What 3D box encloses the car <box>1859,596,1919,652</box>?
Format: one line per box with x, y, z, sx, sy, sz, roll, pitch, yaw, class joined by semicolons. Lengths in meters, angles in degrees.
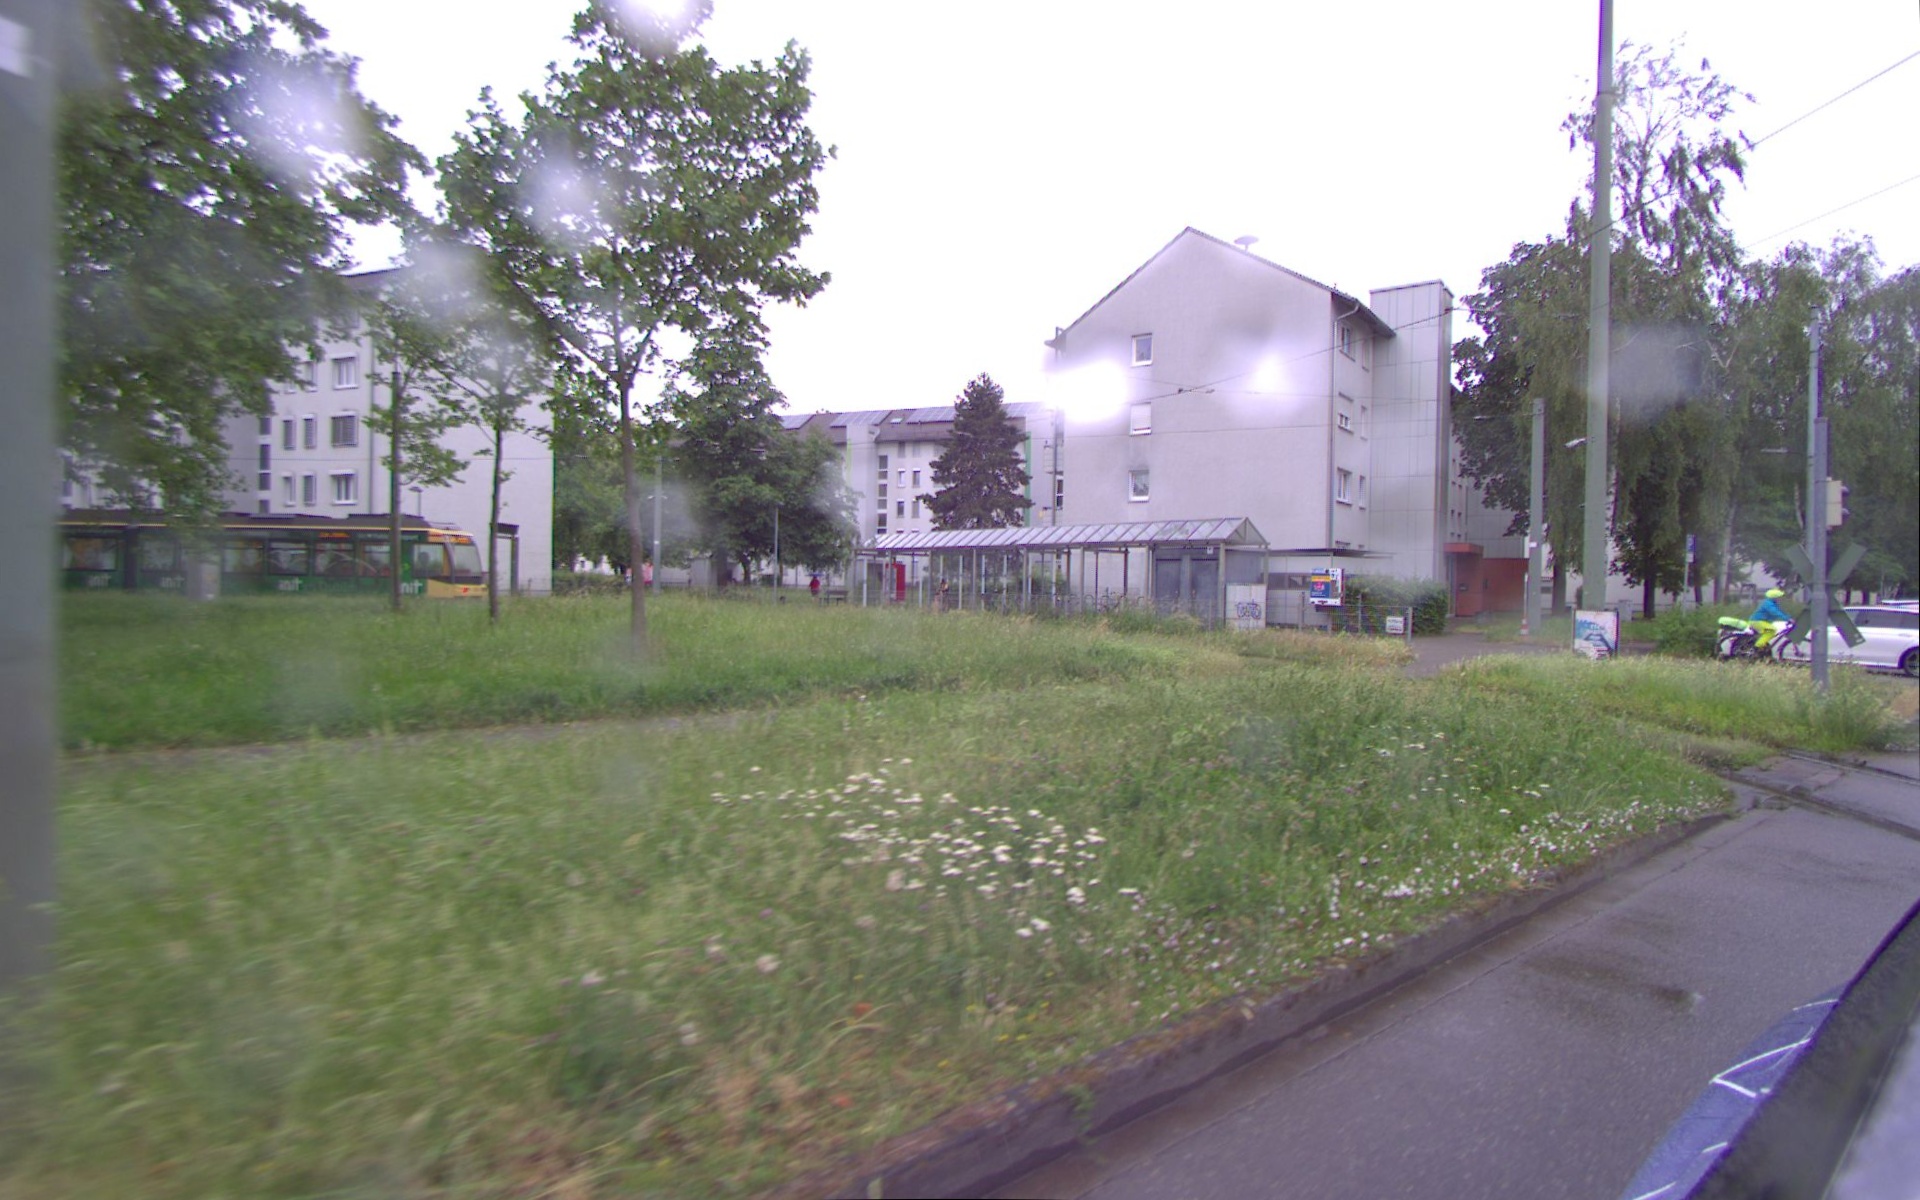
28.707;0.688;29.121;1.691;1.606;3.996;0;-1;-38;car

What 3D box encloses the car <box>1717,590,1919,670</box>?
20.032;0.652;22.424;1.964;1.476;4.840;1;3;-38;car

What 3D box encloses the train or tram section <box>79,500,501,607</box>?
-24.478;-1.672;37.146;14.481;3.635;2.710;1;-1;6;train or tram section

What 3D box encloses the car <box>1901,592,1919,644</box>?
36.152;0.641;35.454;1.691;1.870;4.441;0;-1;-38;car

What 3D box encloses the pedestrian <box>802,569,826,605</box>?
-7.710;-0.674;53.444;1.165;1.908;1.056;0;-1;-12;pedestrian

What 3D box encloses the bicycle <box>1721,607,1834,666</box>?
17.097;0.742;21.221;1.740;1.144;0.720;1;-1;33;bicycle

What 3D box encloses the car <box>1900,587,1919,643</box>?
38.090;0.550;37.635;1.693;2.088;4.436;0;-1;-42;car

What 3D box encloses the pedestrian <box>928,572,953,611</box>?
-0.786;-0.344;41.156;0.776;1.593;0.635;0;-1;-41;pedestrian

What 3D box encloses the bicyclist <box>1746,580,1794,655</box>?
17.018;0.351;21.275;0.693;1.536;0.716;1;-1;32;bicyclist

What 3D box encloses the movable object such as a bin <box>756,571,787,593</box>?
-17.602;-1.664;94.624;1.883;2.039;2.218;-1;-1;25;movable object such as a bin

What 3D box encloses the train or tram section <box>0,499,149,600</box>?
-38.880;-1.925;38.734;14.481;3.635;2.710;1;-1;6;train or tram section

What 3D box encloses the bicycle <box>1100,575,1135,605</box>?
5.135;-0.332;32.928;1.215;0.968;0.377;0;-1;-37;bicycle

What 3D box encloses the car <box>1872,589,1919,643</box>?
34.046;0.533;34.304;1.691;1.870;4.441;0;-1;-38;car

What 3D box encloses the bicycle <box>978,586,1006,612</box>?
1.202;-0.034;37.862;0.415;0.959;1.291;-1;-1;34;bicycle

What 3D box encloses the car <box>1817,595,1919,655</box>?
24.813;0.634;25.992;1.691;1.505;3.996;0;-1;-38;car

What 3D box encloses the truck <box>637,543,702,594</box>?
-21.743;-2.275;75.454;3.138;3.518;7.155;0;-1;-29;truck
